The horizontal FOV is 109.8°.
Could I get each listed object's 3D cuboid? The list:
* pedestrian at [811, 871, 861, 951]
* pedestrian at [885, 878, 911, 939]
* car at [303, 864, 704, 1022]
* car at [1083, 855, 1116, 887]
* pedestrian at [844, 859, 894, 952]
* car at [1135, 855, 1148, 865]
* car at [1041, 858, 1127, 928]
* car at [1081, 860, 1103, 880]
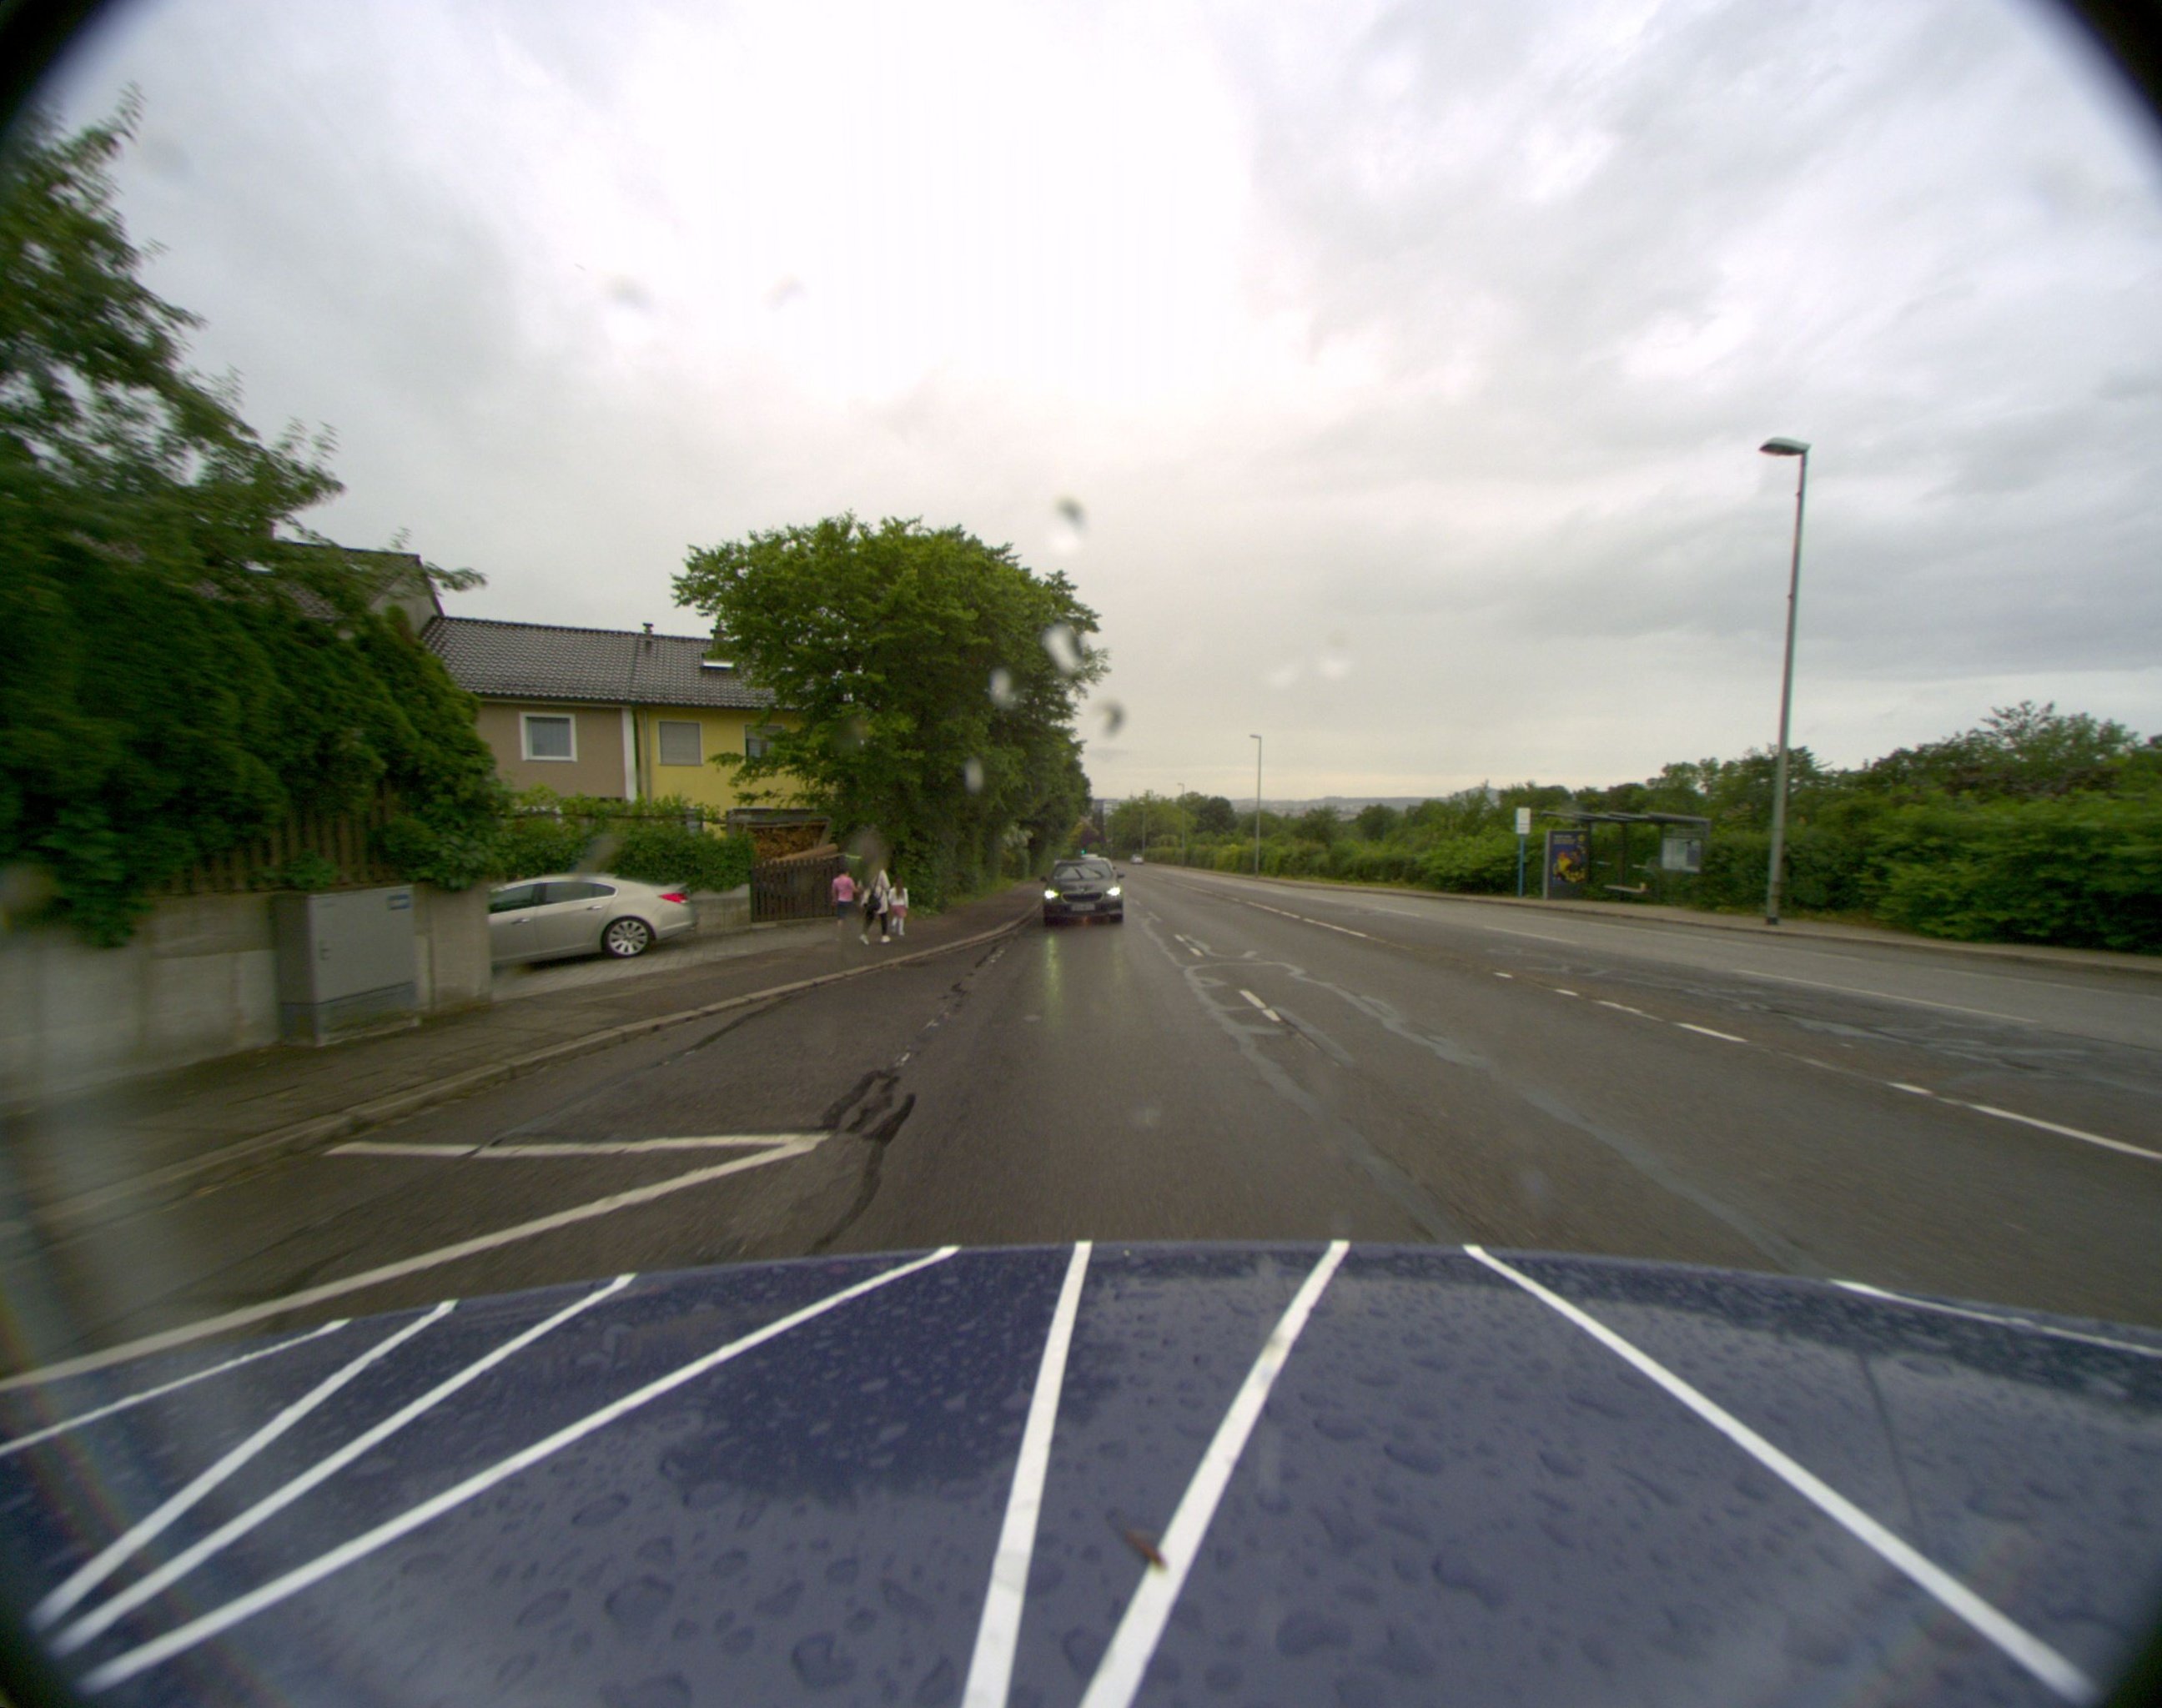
[{"bbox_3d":[-4.311,0.991,13.409,0.603,1.347,0.646,0,1,9],"label":"pedestrian"},{"bbox_3d":[-3.497,1.032,14.551,0.368,1.140,0.366,0,1,9],"label":"pedestrian"},{"bbox_3d":[-8.665,1.222,12.020,4.607,1.413,1.785,-9,5,-29],"label":"car"},{"bbox_3d":[0.922,0.829,38.787,1.550,1.505,4.283,0,1,1],"label":"car"},{"bbox_3d":[-3.711,0.881,13.320,0.611,1.584,0.646,0,1,9],"label":"pedestrian"},{"bbox_3d":[9.701,1.017,122.632,1.761,1.559,3.999,1,0,-1],"label":"car"},{"bbox_3d":[-0.039,0.894,19.202,1.846,1.371,4.281,-3,1,-3],"label":"car"},{"bbox_3d":[1.012,1.412,69.122,1.702,1.670,4.284,0,0,4],"label":"car"}]
